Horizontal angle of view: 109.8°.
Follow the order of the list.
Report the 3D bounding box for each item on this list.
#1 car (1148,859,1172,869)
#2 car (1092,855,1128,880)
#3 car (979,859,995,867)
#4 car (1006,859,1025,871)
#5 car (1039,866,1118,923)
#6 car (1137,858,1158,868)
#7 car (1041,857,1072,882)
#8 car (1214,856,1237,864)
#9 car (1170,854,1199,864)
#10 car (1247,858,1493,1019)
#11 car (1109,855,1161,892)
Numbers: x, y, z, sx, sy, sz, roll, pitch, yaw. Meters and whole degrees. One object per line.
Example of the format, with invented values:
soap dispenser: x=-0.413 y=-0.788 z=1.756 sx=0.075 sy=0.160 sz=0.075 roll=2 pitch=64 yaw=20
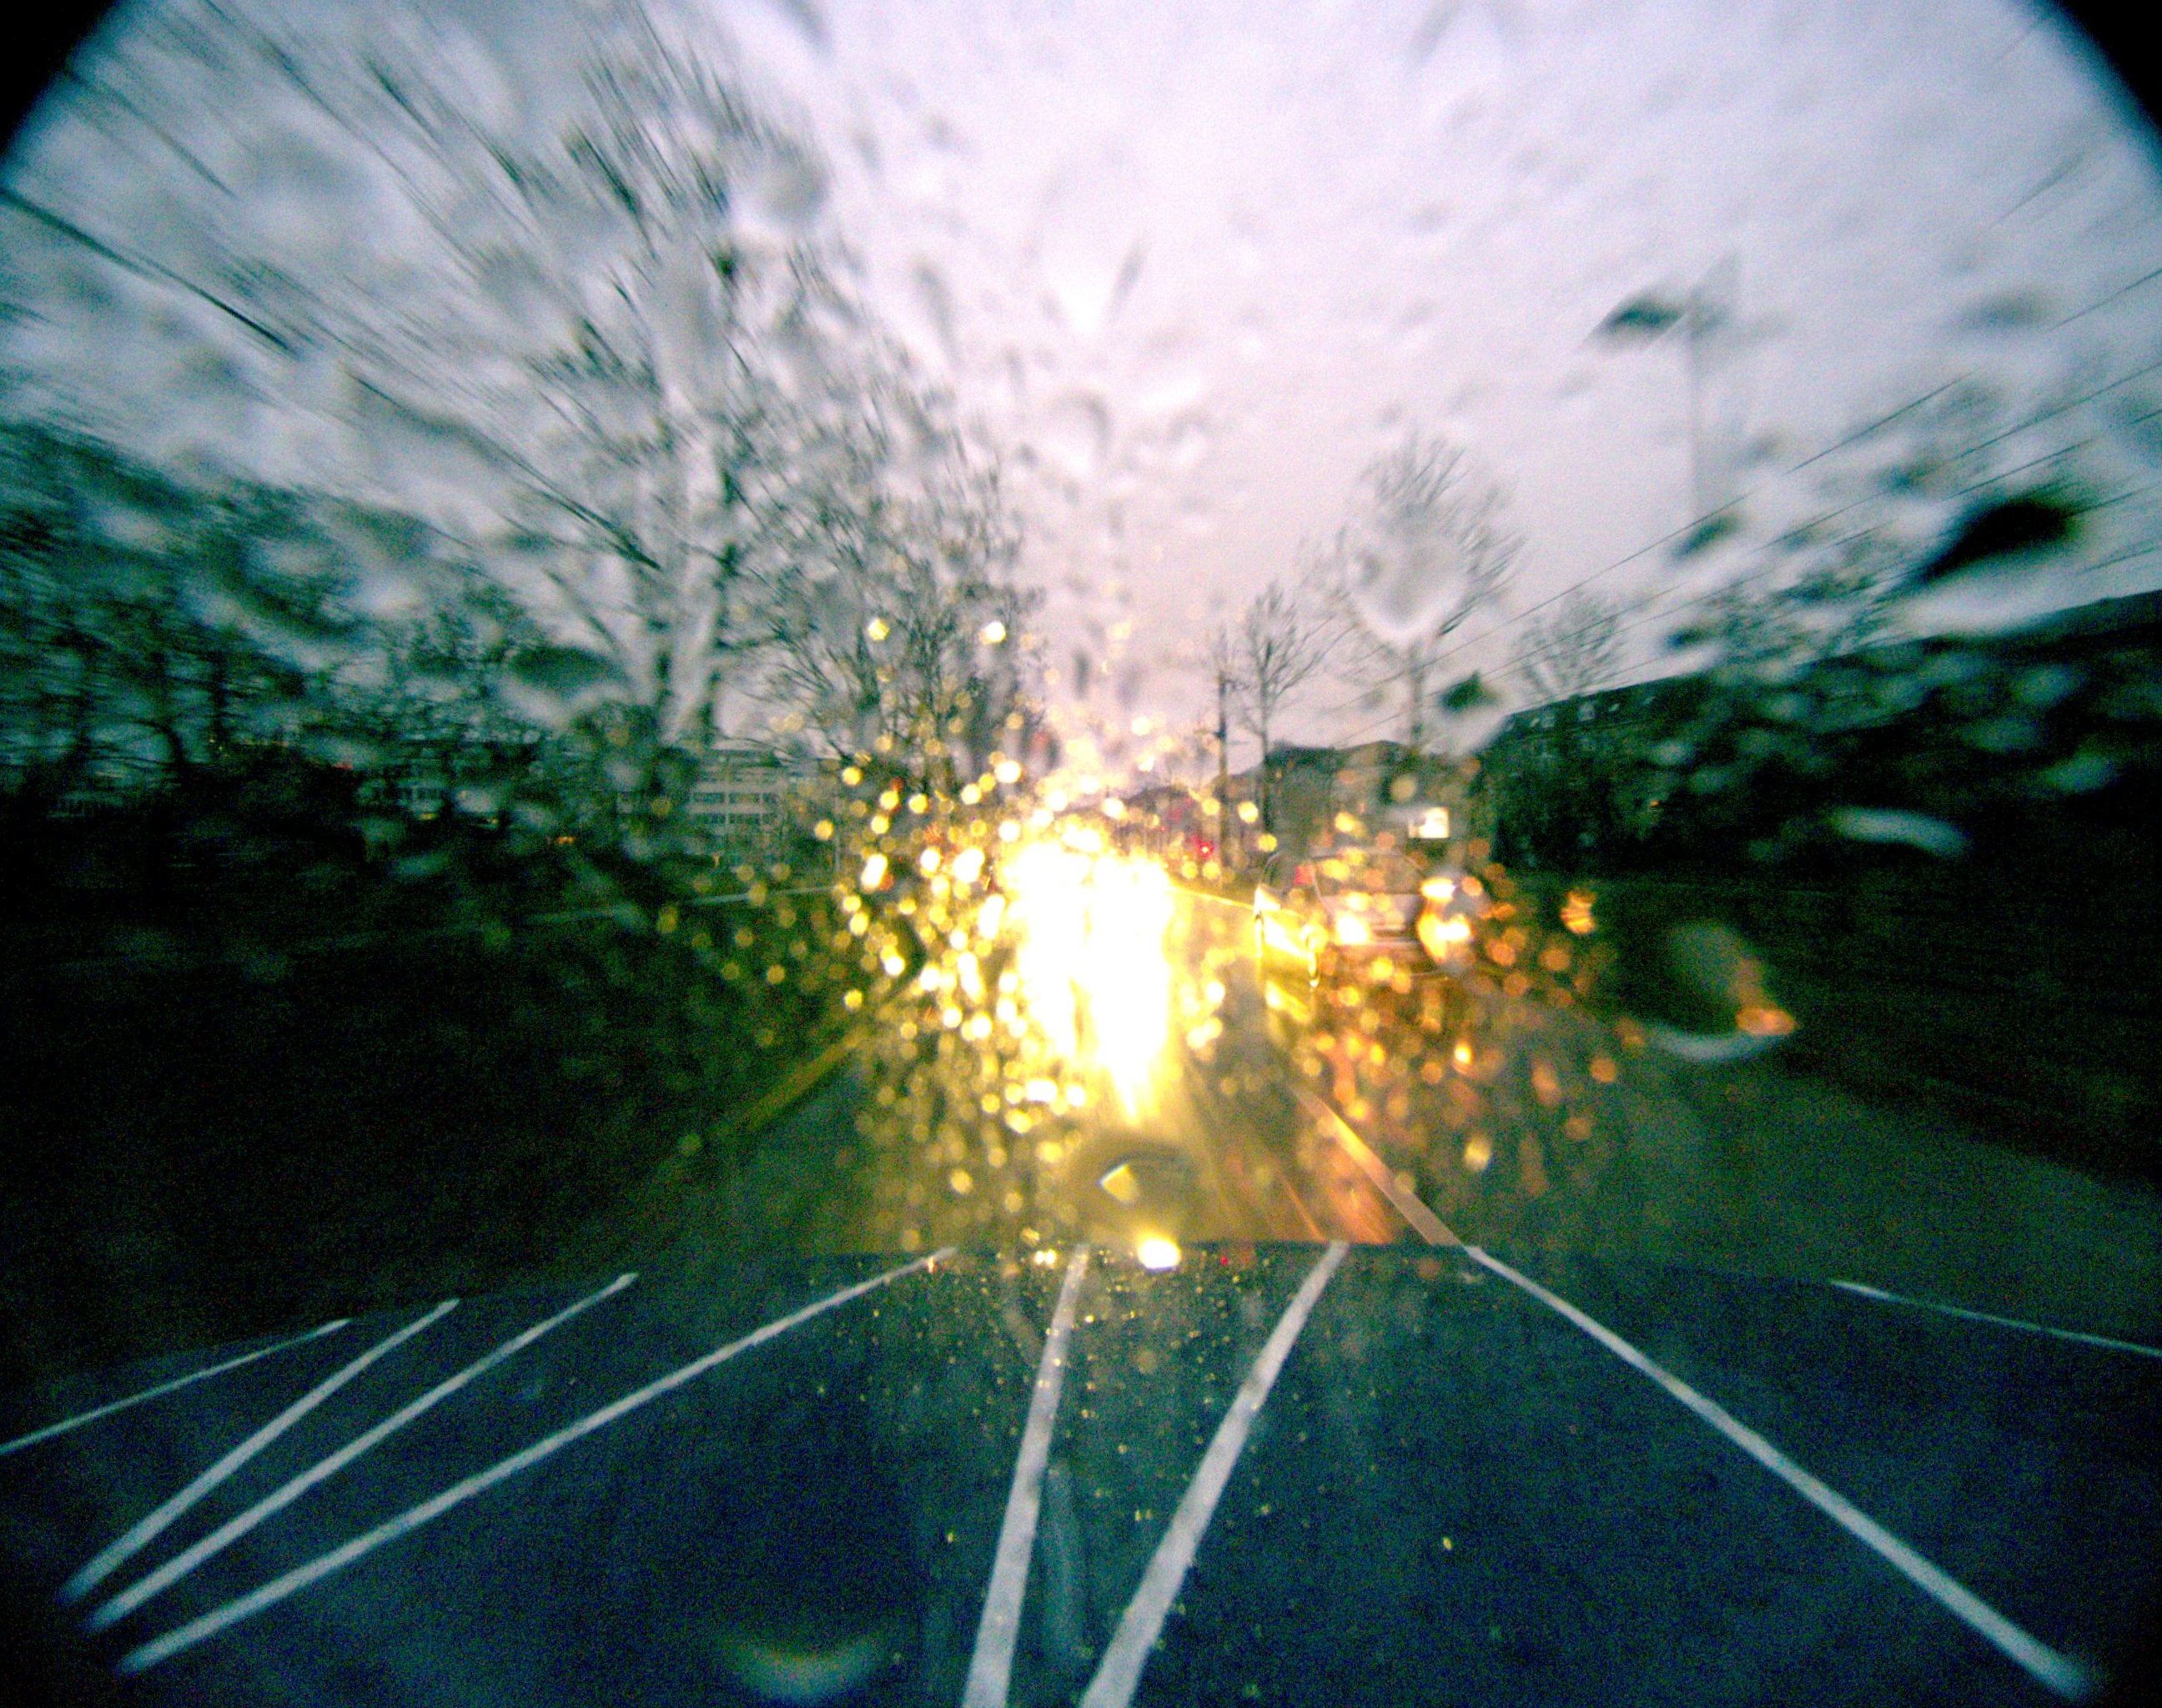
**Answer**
car: x=10.484 y=1.302 z=101.065 sx=1.898 sy=1.347 sz=4.285 roll=-1 pitch=-1 yaw=-11
car: x=1.892 y=0.876 z=50.343 sx=1.845 sy=1.546 sz=4.215 roll=-2 pitch=0 yaw=-5
car: x=-16.463 y=1.578 z=132.440 sx=2.001 sy=1.316 sz=3.994 roll=-2 pitch=0 yaw=-18
car: x=-9.100 y=1.511 z=105.560 sx=1.951 sy=1.546 sz=4.213 roll=-2 pitch=0 yaw=-13
car: x=-0.110 y=1.009 z=20.666 sx=1.897 sy=1.347 sz=4.289 roll=-1 pitch=-1 yaw=-1
car: x=9.304 y=1.319 z=107.154 sx=1.898 sy=1.347 sz=4.286 roll=-1 pitch=-1 yaw=-10
car: x=-1.696 y=1.046 z=52.017 sx=1.950 sy=1.546 sz=4.216 roll=-2 pitch=0 yaw=-3
car: x=27.715 y=1.170 z=145.587 sx=3.901 sy=1.467 sz=1.776 roll=0 pitch=0 yaw=-13
car: x=18.546 y=0.884 z=136.618 sx=4.679 sy=1.846 sz=2.323 roll=0 pitch=0 yaw=-20
car: x=3.275 y=0.844 z=9.458 sx=1.669 sy=1.566 sz=3.923 roll=-1 pitch=0 yaw=2
car: x=2.462 y=0.868 z=35.487 sx=1.924 sy=1.546 sz=4.216 roll=-2 pitch=0 yaw=-2
